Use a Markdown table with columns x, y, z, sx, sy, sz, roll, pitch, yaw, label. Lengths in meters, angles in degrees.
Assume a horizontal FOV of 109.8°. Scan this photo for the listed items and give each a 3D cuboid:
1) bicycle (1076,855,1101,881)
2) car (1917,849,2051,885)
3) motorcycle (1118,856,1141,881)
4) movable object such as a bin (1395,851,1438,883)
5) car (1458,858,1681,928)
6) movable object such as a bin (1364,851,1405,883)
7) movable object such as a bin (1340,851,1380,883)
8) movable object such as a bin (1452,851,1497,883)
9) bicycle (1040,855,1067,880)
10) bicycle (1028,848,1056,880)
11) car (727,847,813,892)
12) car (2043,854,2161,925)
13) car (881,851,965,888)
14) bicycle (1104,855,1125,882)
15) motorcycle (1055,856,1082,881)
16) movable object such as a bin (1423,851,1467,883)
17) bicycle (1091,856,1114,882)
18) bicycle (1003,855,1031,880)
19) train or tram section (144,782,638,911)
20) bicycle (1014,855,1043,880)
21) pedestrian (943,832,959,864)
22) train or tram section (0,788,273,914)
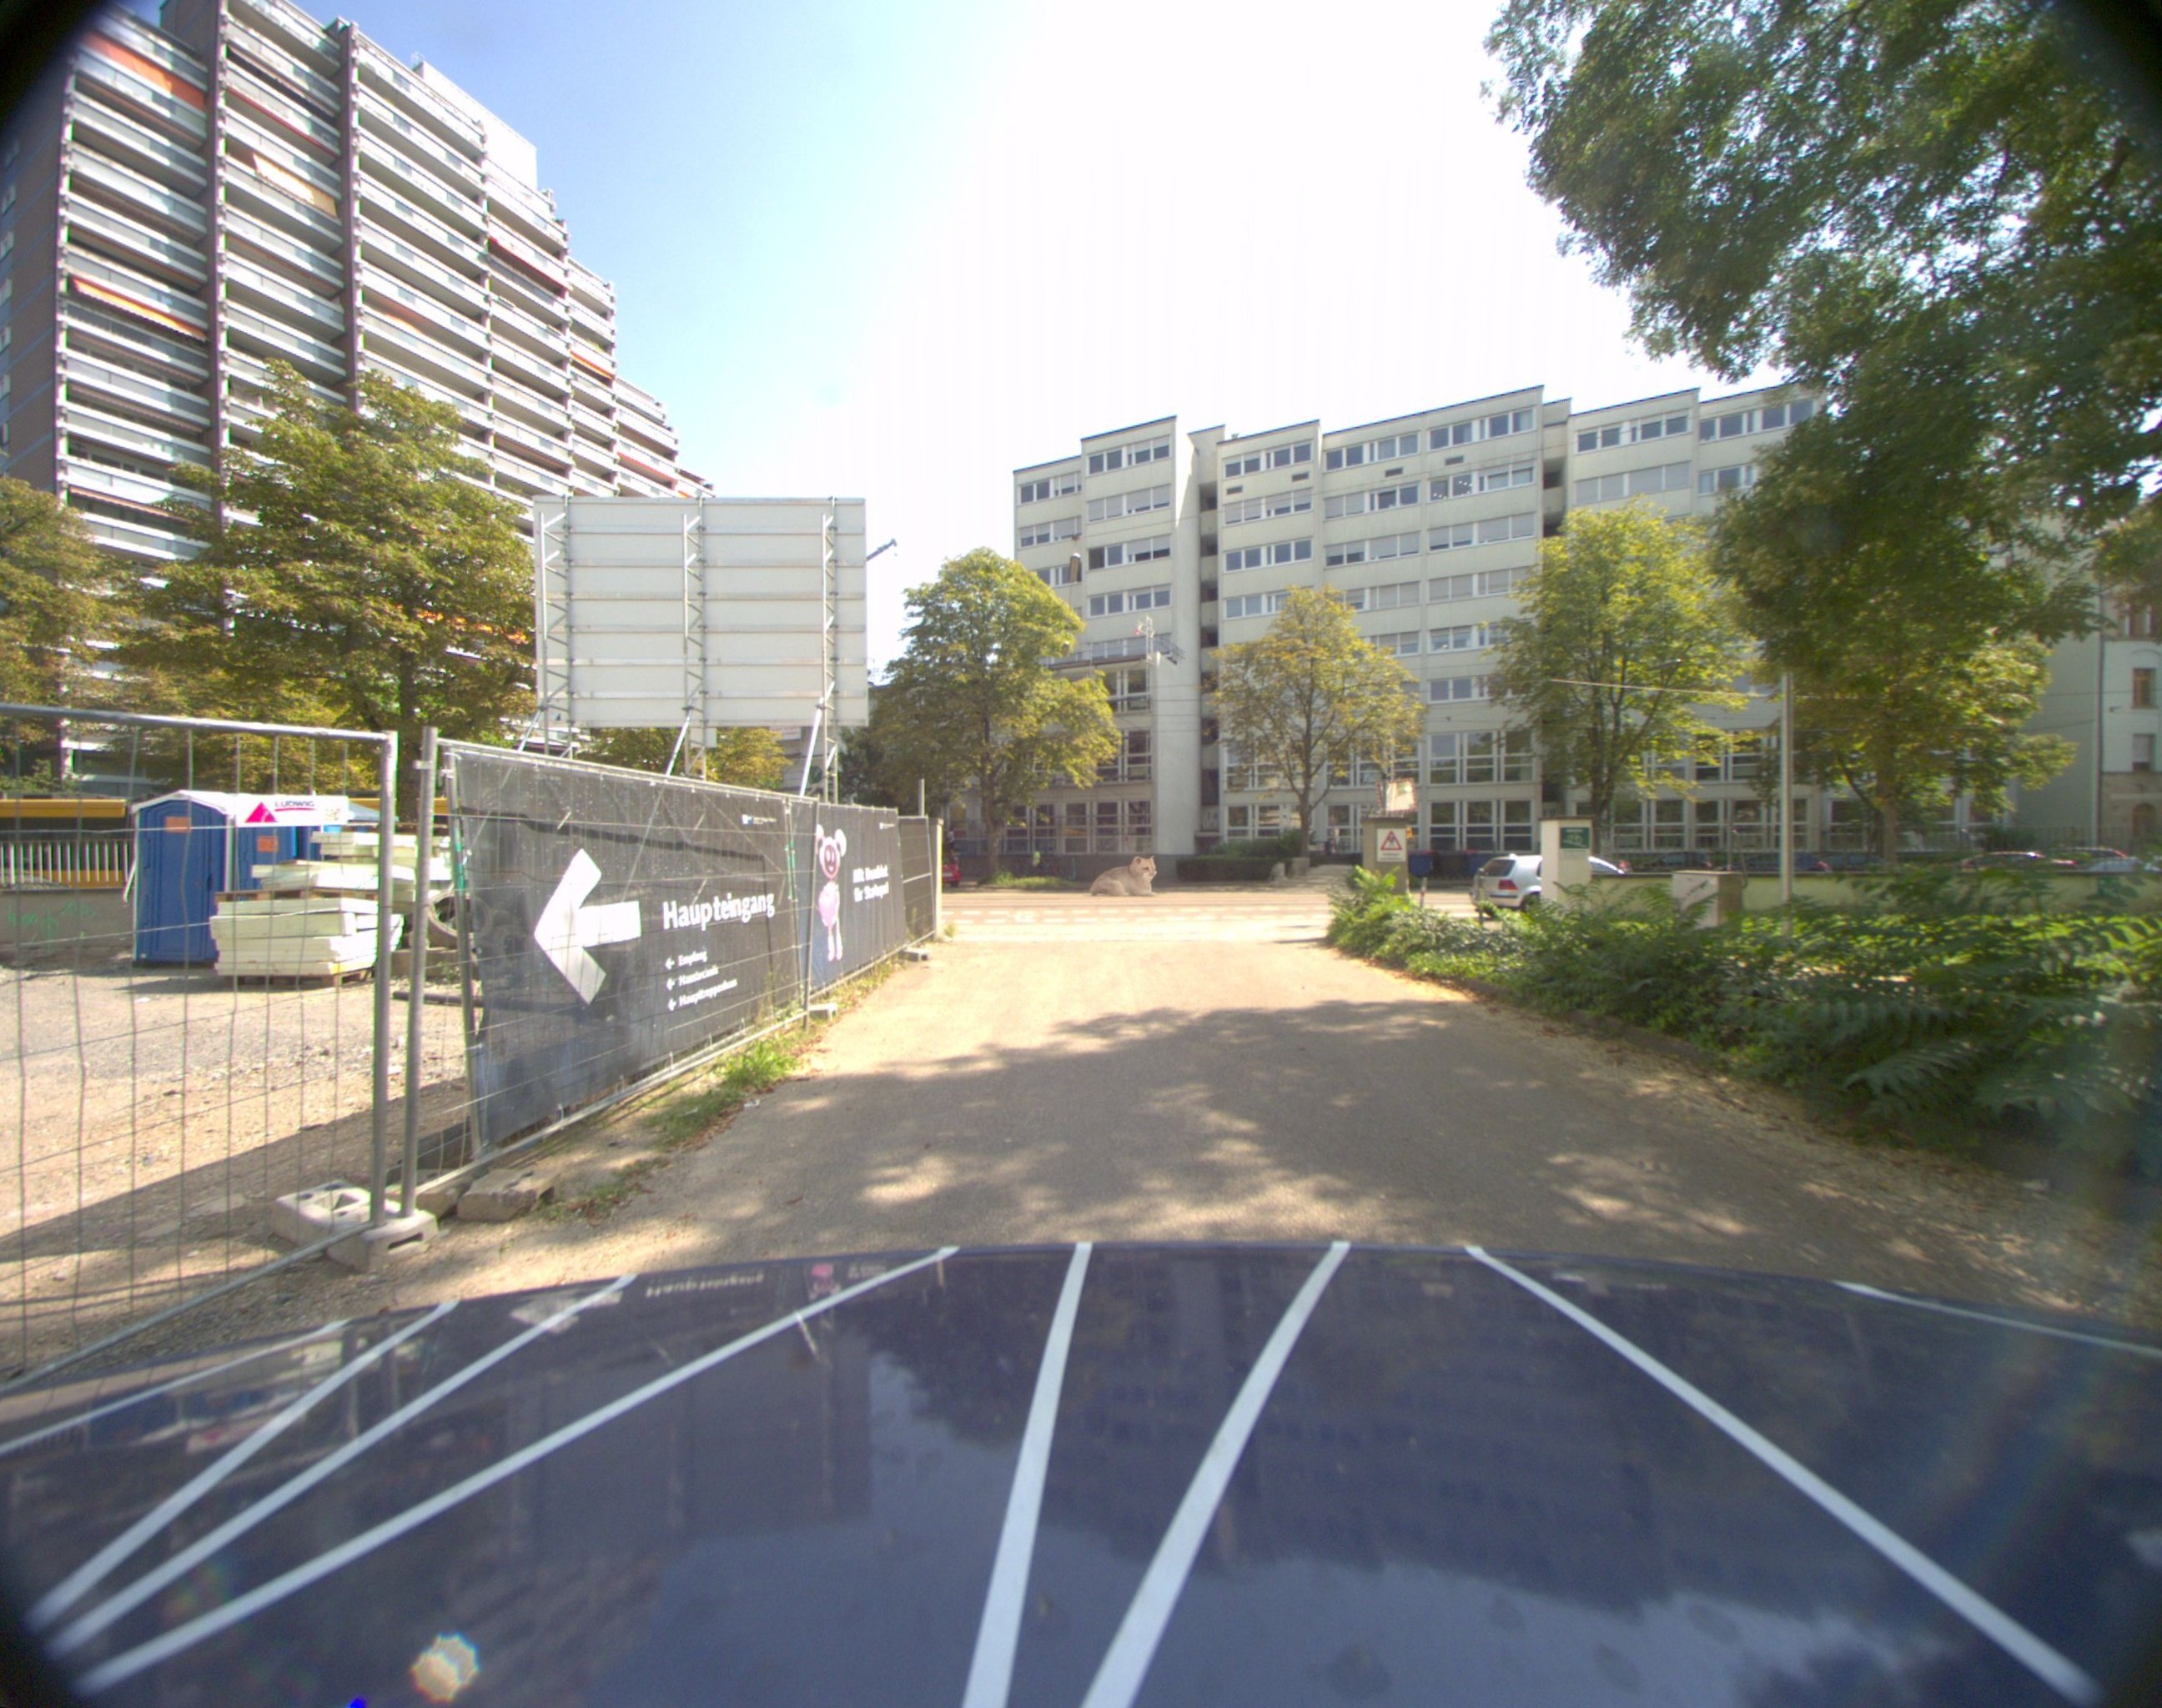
| x | y | z | sx | sy | sz | roll | pitch | yaw | label |
| --- | --- | --- | --- | --- | --- | --- | --- | --- | --- |
| 0.404 | 0.689 | 38.189 | 0.621 | 1.162 | 2.348 | 1 | 2 | 17 | bicycle |
| 39.171 | 0.528 | 33.099 | 1.680 | 1.443 | 3.660 | -1 | 2 | -43 | car |
| 2.406 | 0.704 | 37.757 | 0.694 | 1.176 | 1.847 | 1 | 3 | 19 | motorcycle |
| 16.789 | 0.642 | 38.081 | 1.353 | 1.550 | 1.688 | 0 | 0 | -3 | movable object such as a bin |
| 10.542 | 0.820 | 16.617 | 3.729 | 1.437 | 1.797 | 0 | 0 | 1 | car |
| 15.256 | 0.647 | 38.230 | 1.353 | 1.550 | 1.688 | 0 | 0 | -3 | movable object such as a bin |
| 13.833 | 0.653 | 37.732 | 1.353 | 1.550 | 1.688 | 0 | 0 | -3 | movable object such as a bin |
| 19.815 | 0.629 | 38.332 | 1.353 | 1.550 | 1.688 | 0 | 0 | -3 | movable object such as a bin |
| -1.375 | 0.677 | 38.826 | 0.600 | 1.162 | 2.348 | 1 | 3 | 19 | bicycle |
| -1.998 | 0.495 | 39.022 | 0.600 | 1.517 | 2.348 | 1 | 3 | 19 | bicycle |
| -13.146 | 0.587 | 31.998 | 1.829 | 1.761 | 4.273 | -1 | 1 | -44 | car |
| 24.620 | 0.757 | 17.197 | 3.639 | 1.503 | 1.645 | 0 | 1 | -1 | car |
| -6.893 | 0.638 | 32.925 | 1.724 | 1.499 | 3.849 | 0 | 0 | -45 | car |
| 1.683 | 0.702 | 37.847 | 0.561 | 1.162 | 2.348 | 1 | 2 | 15 | bicycle |
| -0.647 | 0.702 | 38.702 | 0.742 | 1.148 | 2.009 | 1 | 3 | 19 | motorcycle |
| 18.339 | 0.638 | 38.308 | 1.353 | 1.550 | 1.688 | 0 | 0 | -3 | movable object such as a bin |
| 1.088 | 0.724 | 38.020 | 0.621 | 1.162 | 2.348 | 1 | 2 | 16 | bicycle |
| -3.306 | 0.680 | 39.475 | 0.600 | 1.153 | 2.348 | 1 | 3 | 19 | bicycle |
| -21.491 | -0.254 | 24.354 | 12.403 | 3.683 | 3.507 | -1 | 1 | -1 | train or tram section |
| -2.702 | 0.674 | 39.265 | 0.600 | 1.153 | 2.348 | 1 | 3 | 19 | bicycle |
| -7.321 | -0.332 | 42.901 | 0.741 | 1.777 | 0.828 | -1 | 1 | -20 | pedestrian |
| -33.948 | -0.080 | 24.205 | 12.403 | 3.683 | 3.507 | -1 | 1 | -1 | train or tram section |
